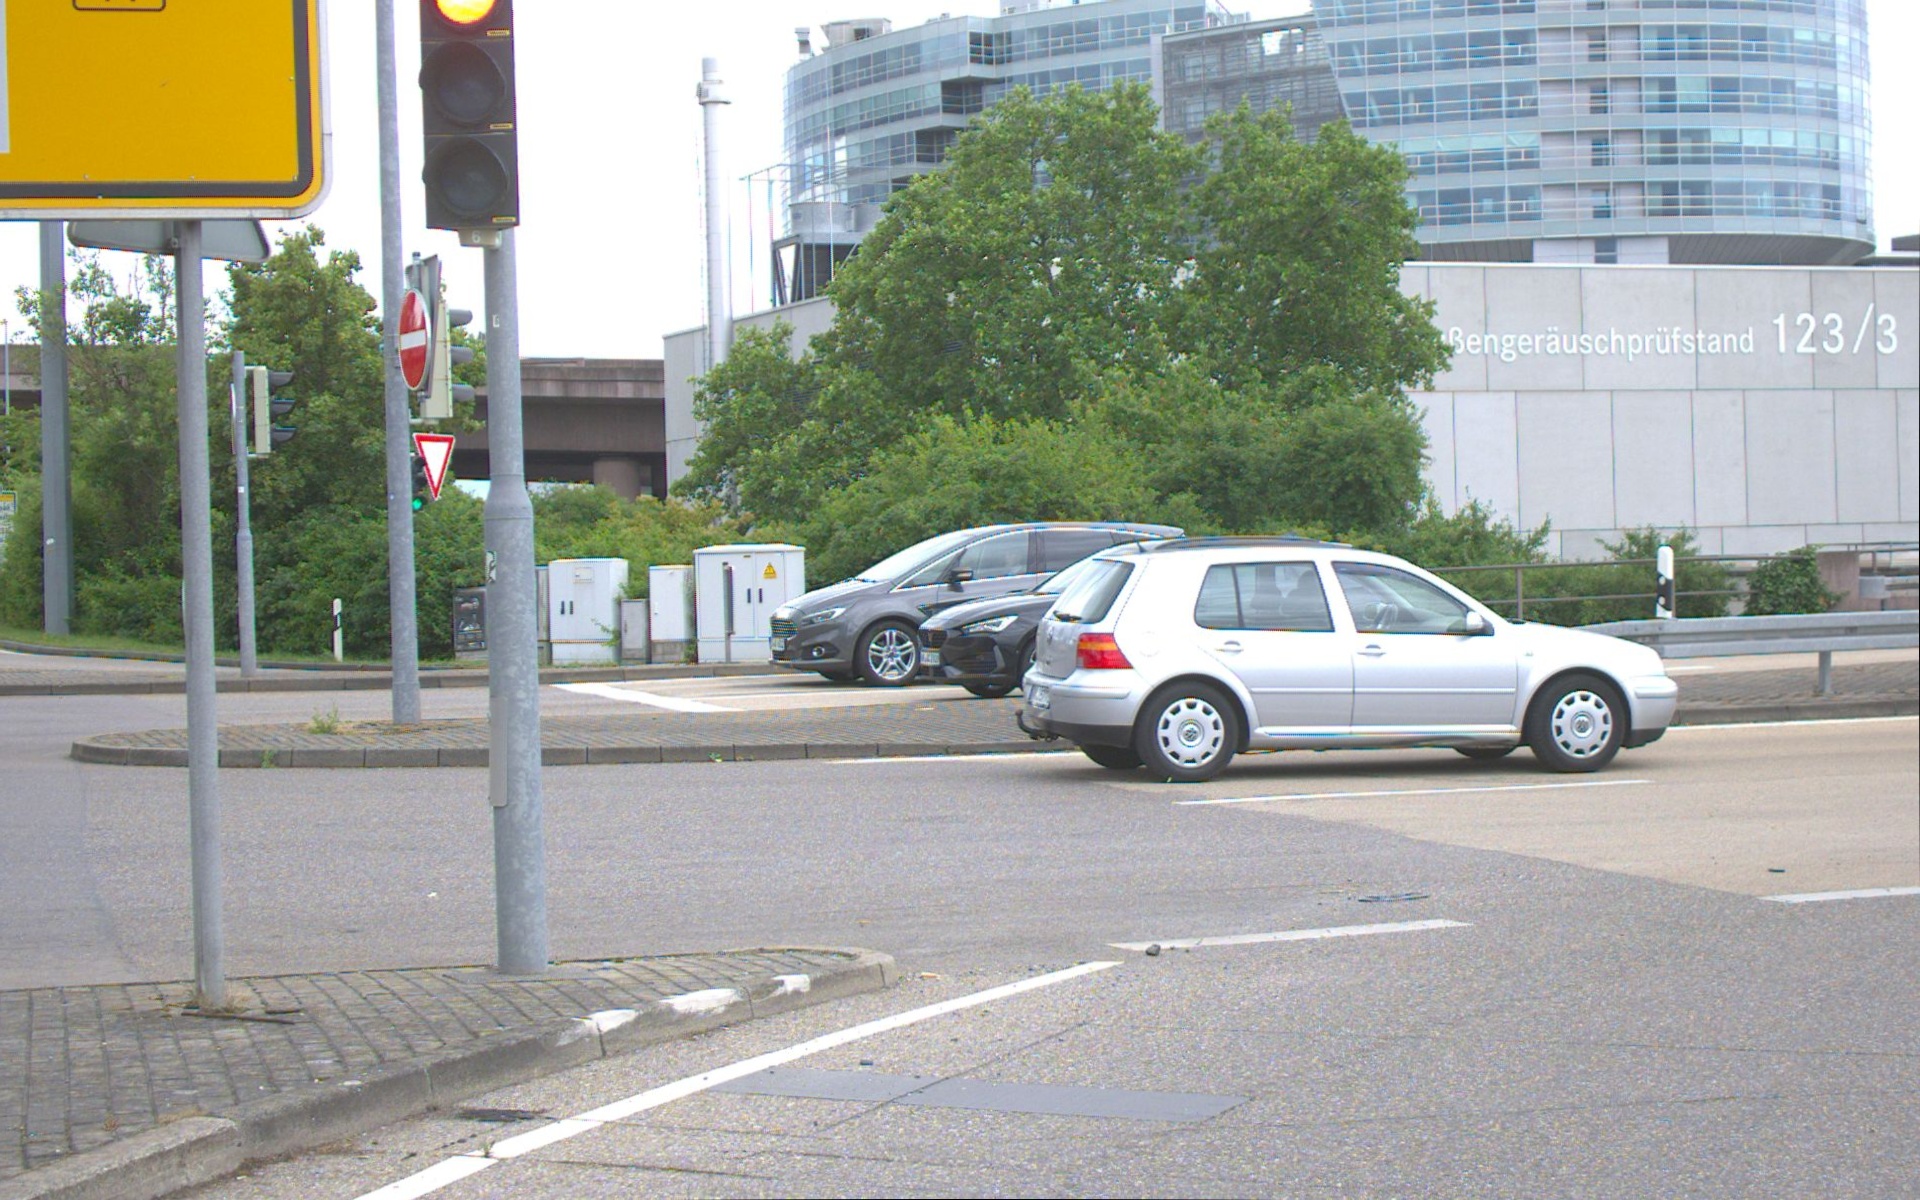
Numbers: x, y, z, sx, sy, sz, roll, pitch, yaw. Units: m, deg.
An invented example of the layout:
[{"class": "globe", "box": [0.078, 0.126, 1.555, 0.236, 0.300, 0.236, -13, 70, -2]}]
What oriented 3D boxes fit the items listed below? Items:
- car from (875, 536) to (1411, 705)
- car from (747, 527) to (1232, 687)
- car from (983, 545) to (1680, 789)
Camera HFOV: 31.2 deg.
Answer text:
[{"class": "car", "box": [1.701, 0.148, 32.117, 4.604, 1.452, 1.956, -1, 2, -21]}, {"class": "car", "box": [0.292, 0.033, 35.887, 4.677, 1.566, 1.956, 0, 2, -19]}, {"class": "car", "box": [2.310, 0.380, 21.802, 4.052, 1.396, 1.730, -1, 1, -11]}]
